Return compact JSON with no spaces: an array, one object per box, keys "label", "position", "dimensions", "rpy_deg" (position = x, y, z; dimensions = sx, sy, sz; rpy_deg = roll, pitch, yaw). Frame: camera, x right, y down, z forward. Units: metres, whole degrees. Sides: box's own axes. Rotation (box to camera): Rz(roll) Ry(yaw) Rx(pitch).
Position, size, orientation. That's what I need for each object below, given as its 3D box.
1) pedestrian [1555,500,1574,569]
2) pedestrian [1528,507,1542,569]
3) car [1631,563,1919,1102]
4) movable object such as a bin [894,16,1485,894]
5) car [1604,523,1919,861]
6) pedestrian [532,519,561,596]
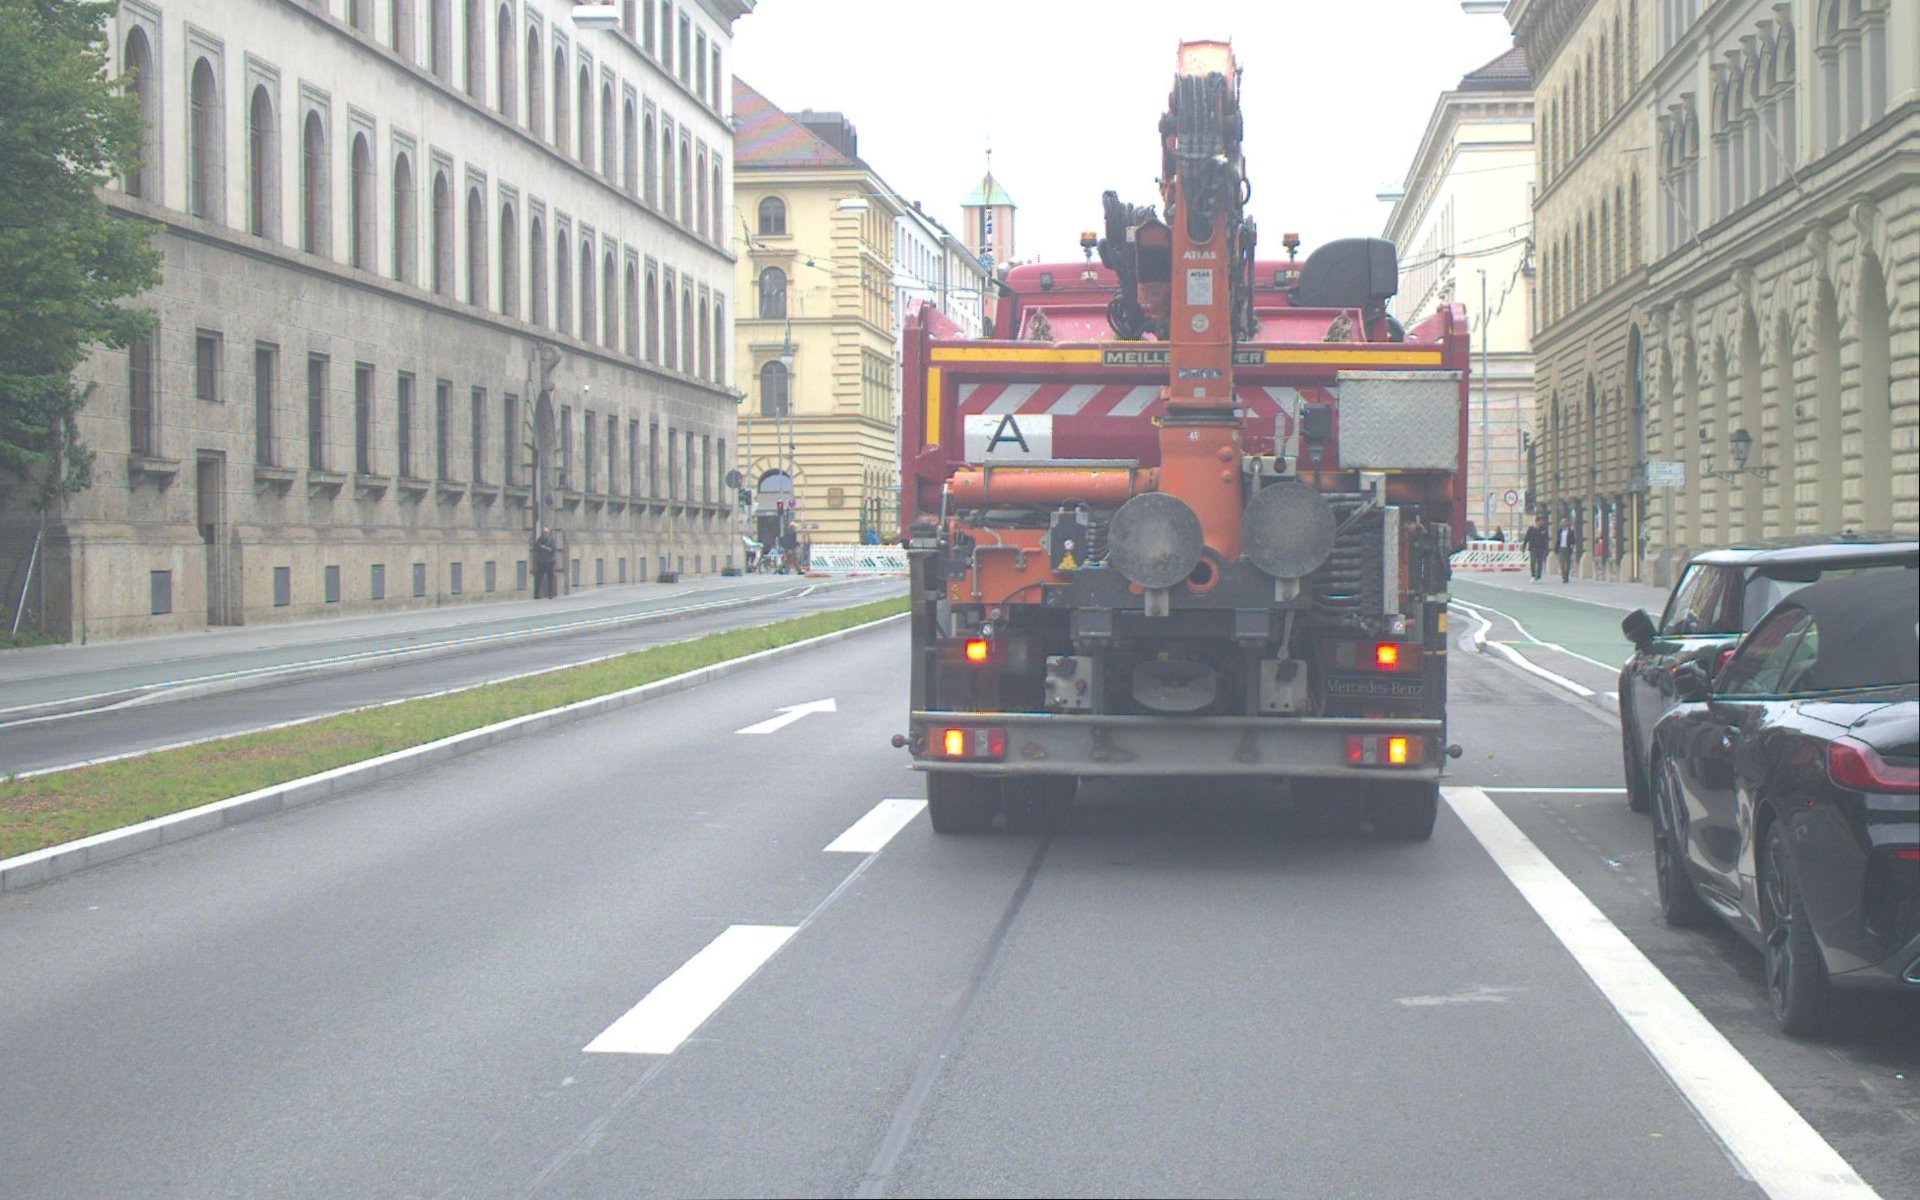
[{"label":"pedestrian","position":[16.300,-1.768,92.740],"dimensions":[0.446,1.830,0.556],"rpy_deg":[-1,1,6]},{"label":"pedestrian","position":[15.510,-1.675,92.685],"dimensions":[0.337,1.666,0.440],"rpy_deg":[-1,1,6]},{"label":"car","position":[3.341,0.608,11.339],"dimensions":[1.680,1.381,4.426],"rpy_deg":[1,1,4]},{"label":"movable object such as a bin","position":[1.102,-0.662,17.097],"dimensions":[2.423,3.599,5.851],"rpy_deg":[0,1,3]},{"label":"car","position":[4.199,0.374,17.004],"dimensions":[1.610,1.490,3.424],"rpy_deg":[-1,1,4]},{"label":"pedestrian","position":[-9.900,-1.014,82.309],"dimensions":[0.589,1.825,0.499],"rpy_deg":[0,2,3]}]
